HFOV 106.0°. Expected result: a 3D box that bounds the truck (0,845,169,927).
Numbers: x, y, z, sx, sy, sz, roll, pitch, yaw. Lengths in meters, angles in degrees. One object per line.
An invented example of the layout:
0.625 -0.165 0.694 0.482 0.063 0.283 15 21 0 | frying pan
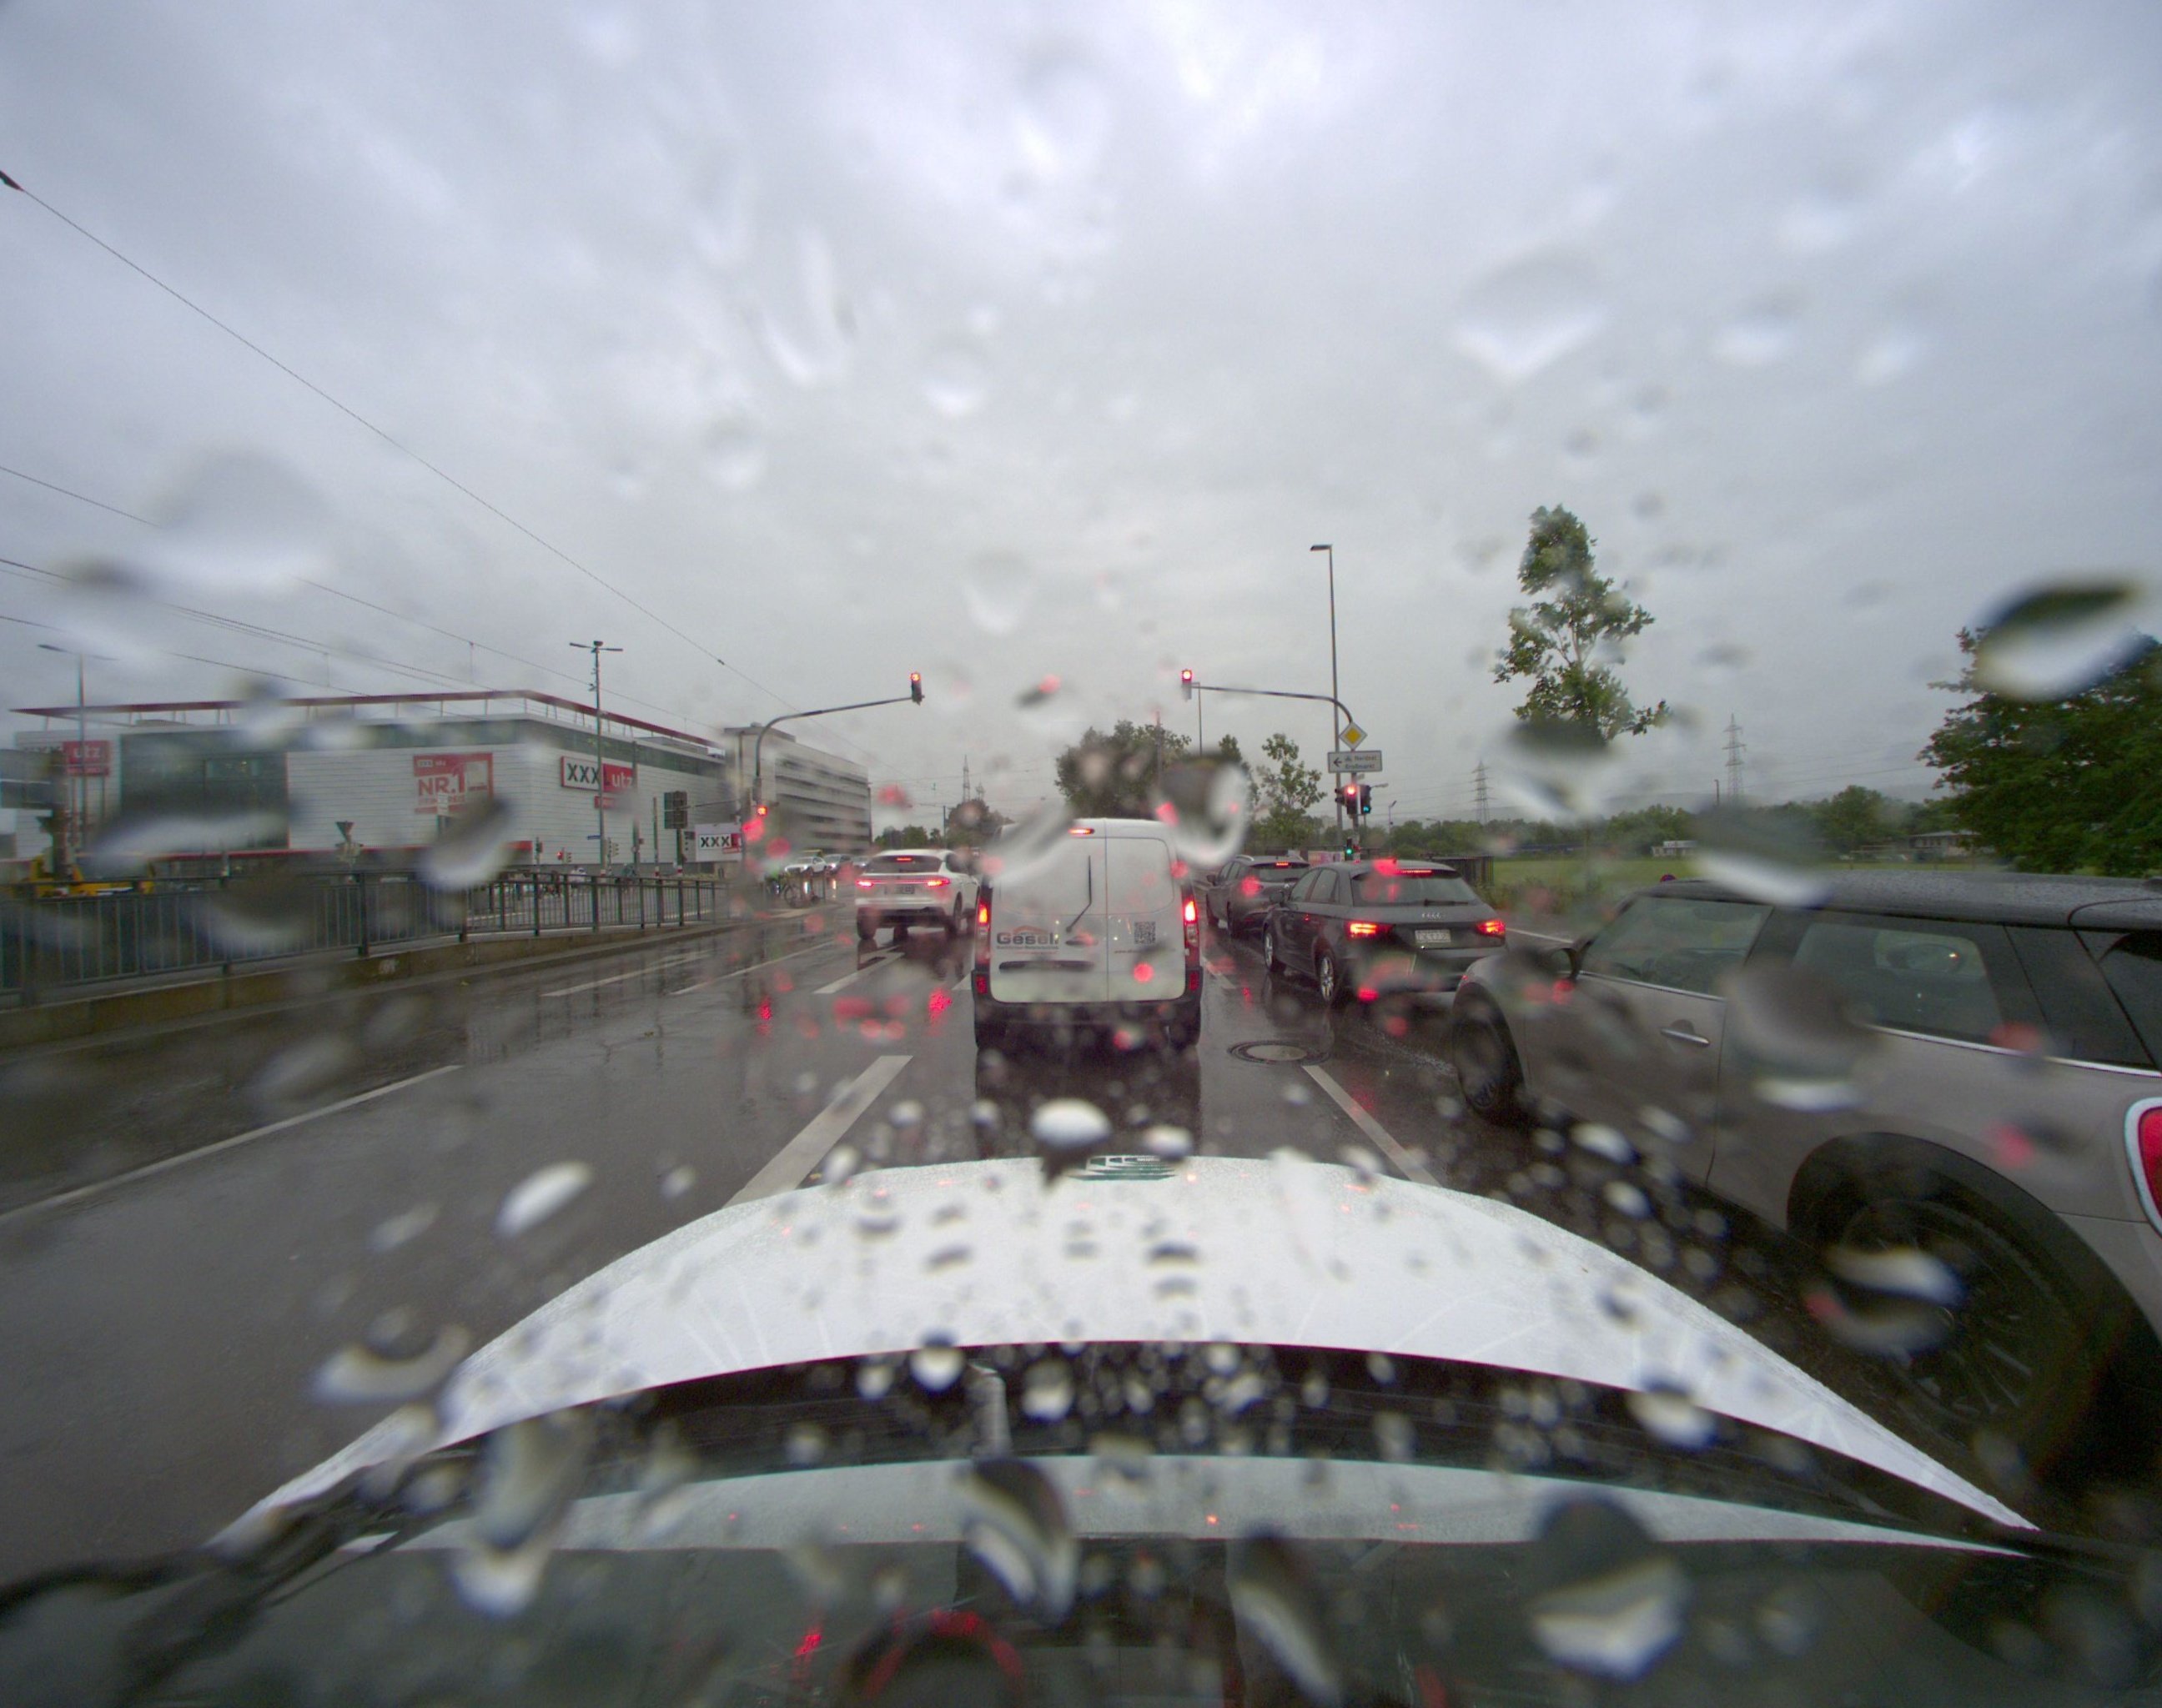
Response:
-38.296 1.155 29.651 7.100 2.816 2.640 -1 -1 -1 | truck

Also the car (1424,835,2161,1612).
2.971 0.711 3.259 1.707 1.508 3.624 0 0 1 | car

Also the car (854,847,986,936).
-3.057 0.641 16.322 1.723 1.535 4.298 0 0 1 | car

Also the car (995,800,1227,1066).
0.268 0.551 7.564 1.560 1.788 4.002 -1 0 2 | car

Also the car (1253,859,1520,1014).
3.075 0.738 8.979 1.623 1.344 3.624 0 0 1 | car

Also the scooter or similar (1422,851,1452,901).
8.468 0.521 19.413 0.244 1.158 1.187 0 -1 3 | scooter or similar

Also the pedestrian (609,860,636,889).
-26.661 1.176 47.361 0.912 1.632 1.015 -1 -1 12 | pedestrian

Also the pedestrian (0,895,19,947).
-32.418 1.998 24.191 0.561 1.537 0.872 0 -1 1 | pedestrian

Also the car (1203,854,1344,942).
3.508 0.740 15.544 1.853 1.428 3.808 0 0 1 | car

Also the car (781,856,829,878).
-19.514 0.915 57.767 1.689 1.492 3.884 0 -1 7 | car

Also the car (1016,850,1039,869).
-4.316 0.451 65.117 1.613 1.503 3.705 0 -1 -8 | car

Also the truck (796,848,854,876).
-22.329 0.666 71.382 2.342 2.279 7.637 0 0 2 | truck

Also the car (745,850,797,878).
-23.068 0.762 60.714 1.983 2.014 4.007 0 -1 6 | car

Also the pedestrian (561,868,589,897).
-29.155 1.610 46.924 1.013 1.632 1.091 -1 -1 42 | pedestrian

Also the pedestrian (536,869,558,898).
-29.803 1.634 45.456 0.701 1.632 0.918 0 -1 -10 | pedestrian

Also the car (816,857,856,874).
-19.085 0.891 63.570 1.579 1.336 3.837 0 -1 6 | car

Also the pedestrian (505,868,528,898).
-31.356 1.625 45.240 0.701 1.632 0.918 0 -1 -10 | pedestrian

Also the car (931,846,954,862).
-17.756 -0.001 104.625 1.985 2.014 4.004 0 -1 3 | car

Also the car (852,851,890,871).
-18.272 0.585 70.980 1.883 1.699 4.006 0 -1 6 | car

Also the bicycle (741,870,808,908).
-8.944 1.016 23.760 1.745 1.034 0.414 2 -1 0 | bicycle

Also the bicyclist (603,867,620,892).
-28.590 1.539 49.583 0.681 1.464 0.647 0 -1 3 | bicyclist

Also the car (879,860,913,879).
-17.661 1.450 78.033 1.919 1.827 4.007 0 -1 6 | car

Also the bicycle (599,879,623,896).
-28.590 2.007 49.548 0.448 0.987 1.709 0 -1 2 | bicycle
